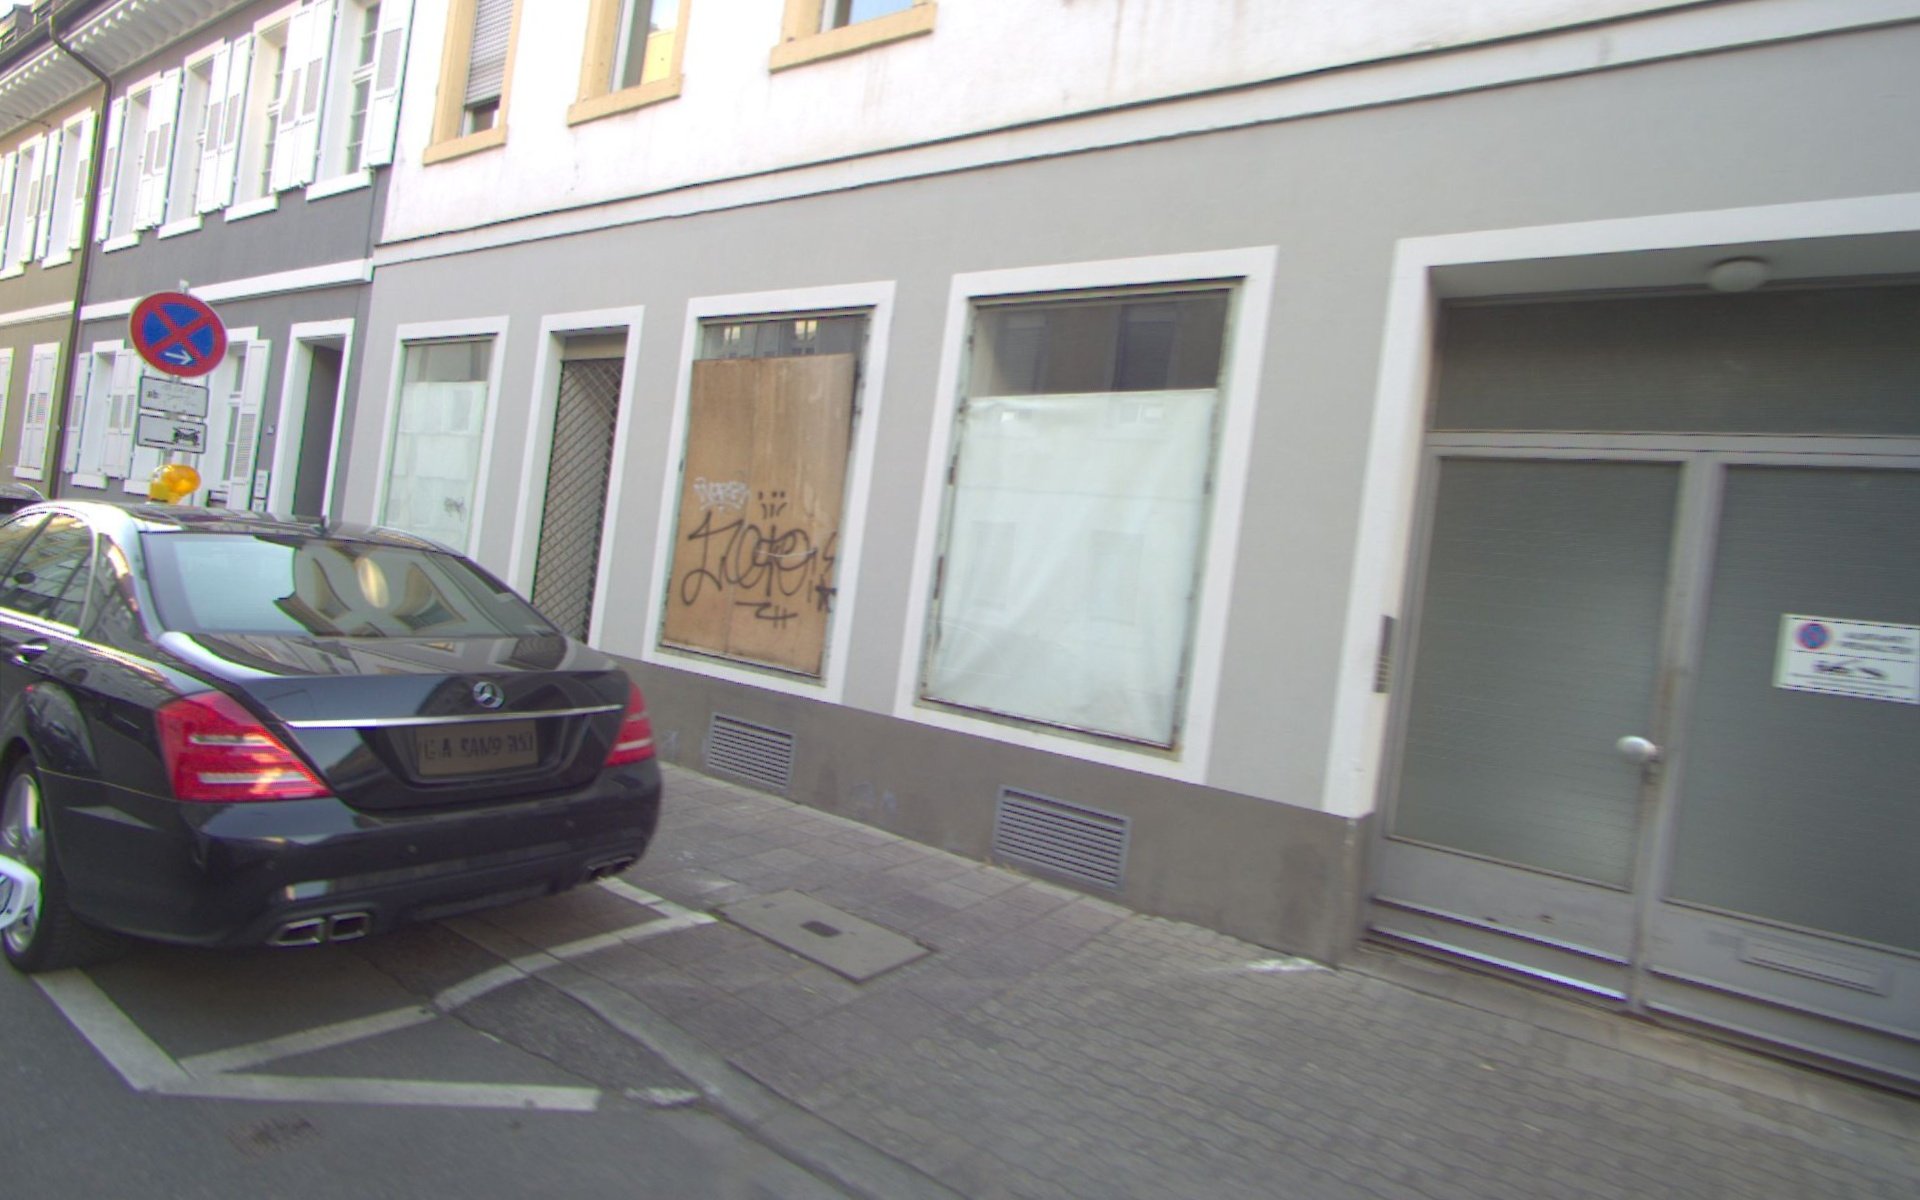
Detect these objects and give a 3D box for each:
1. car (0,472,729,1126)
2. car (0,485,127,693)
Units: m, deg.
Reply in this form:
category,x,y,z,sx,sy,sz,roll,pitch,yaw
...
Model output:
category,x,y,z,sx,sy,sz,roll,pitch,yaw
car,-3.491,0.294,4.627,4.992,1.550,1.818,7,3,36
car,-8.798,-0.318,8.417,3.936,1.503,1.679,7,-2,35
